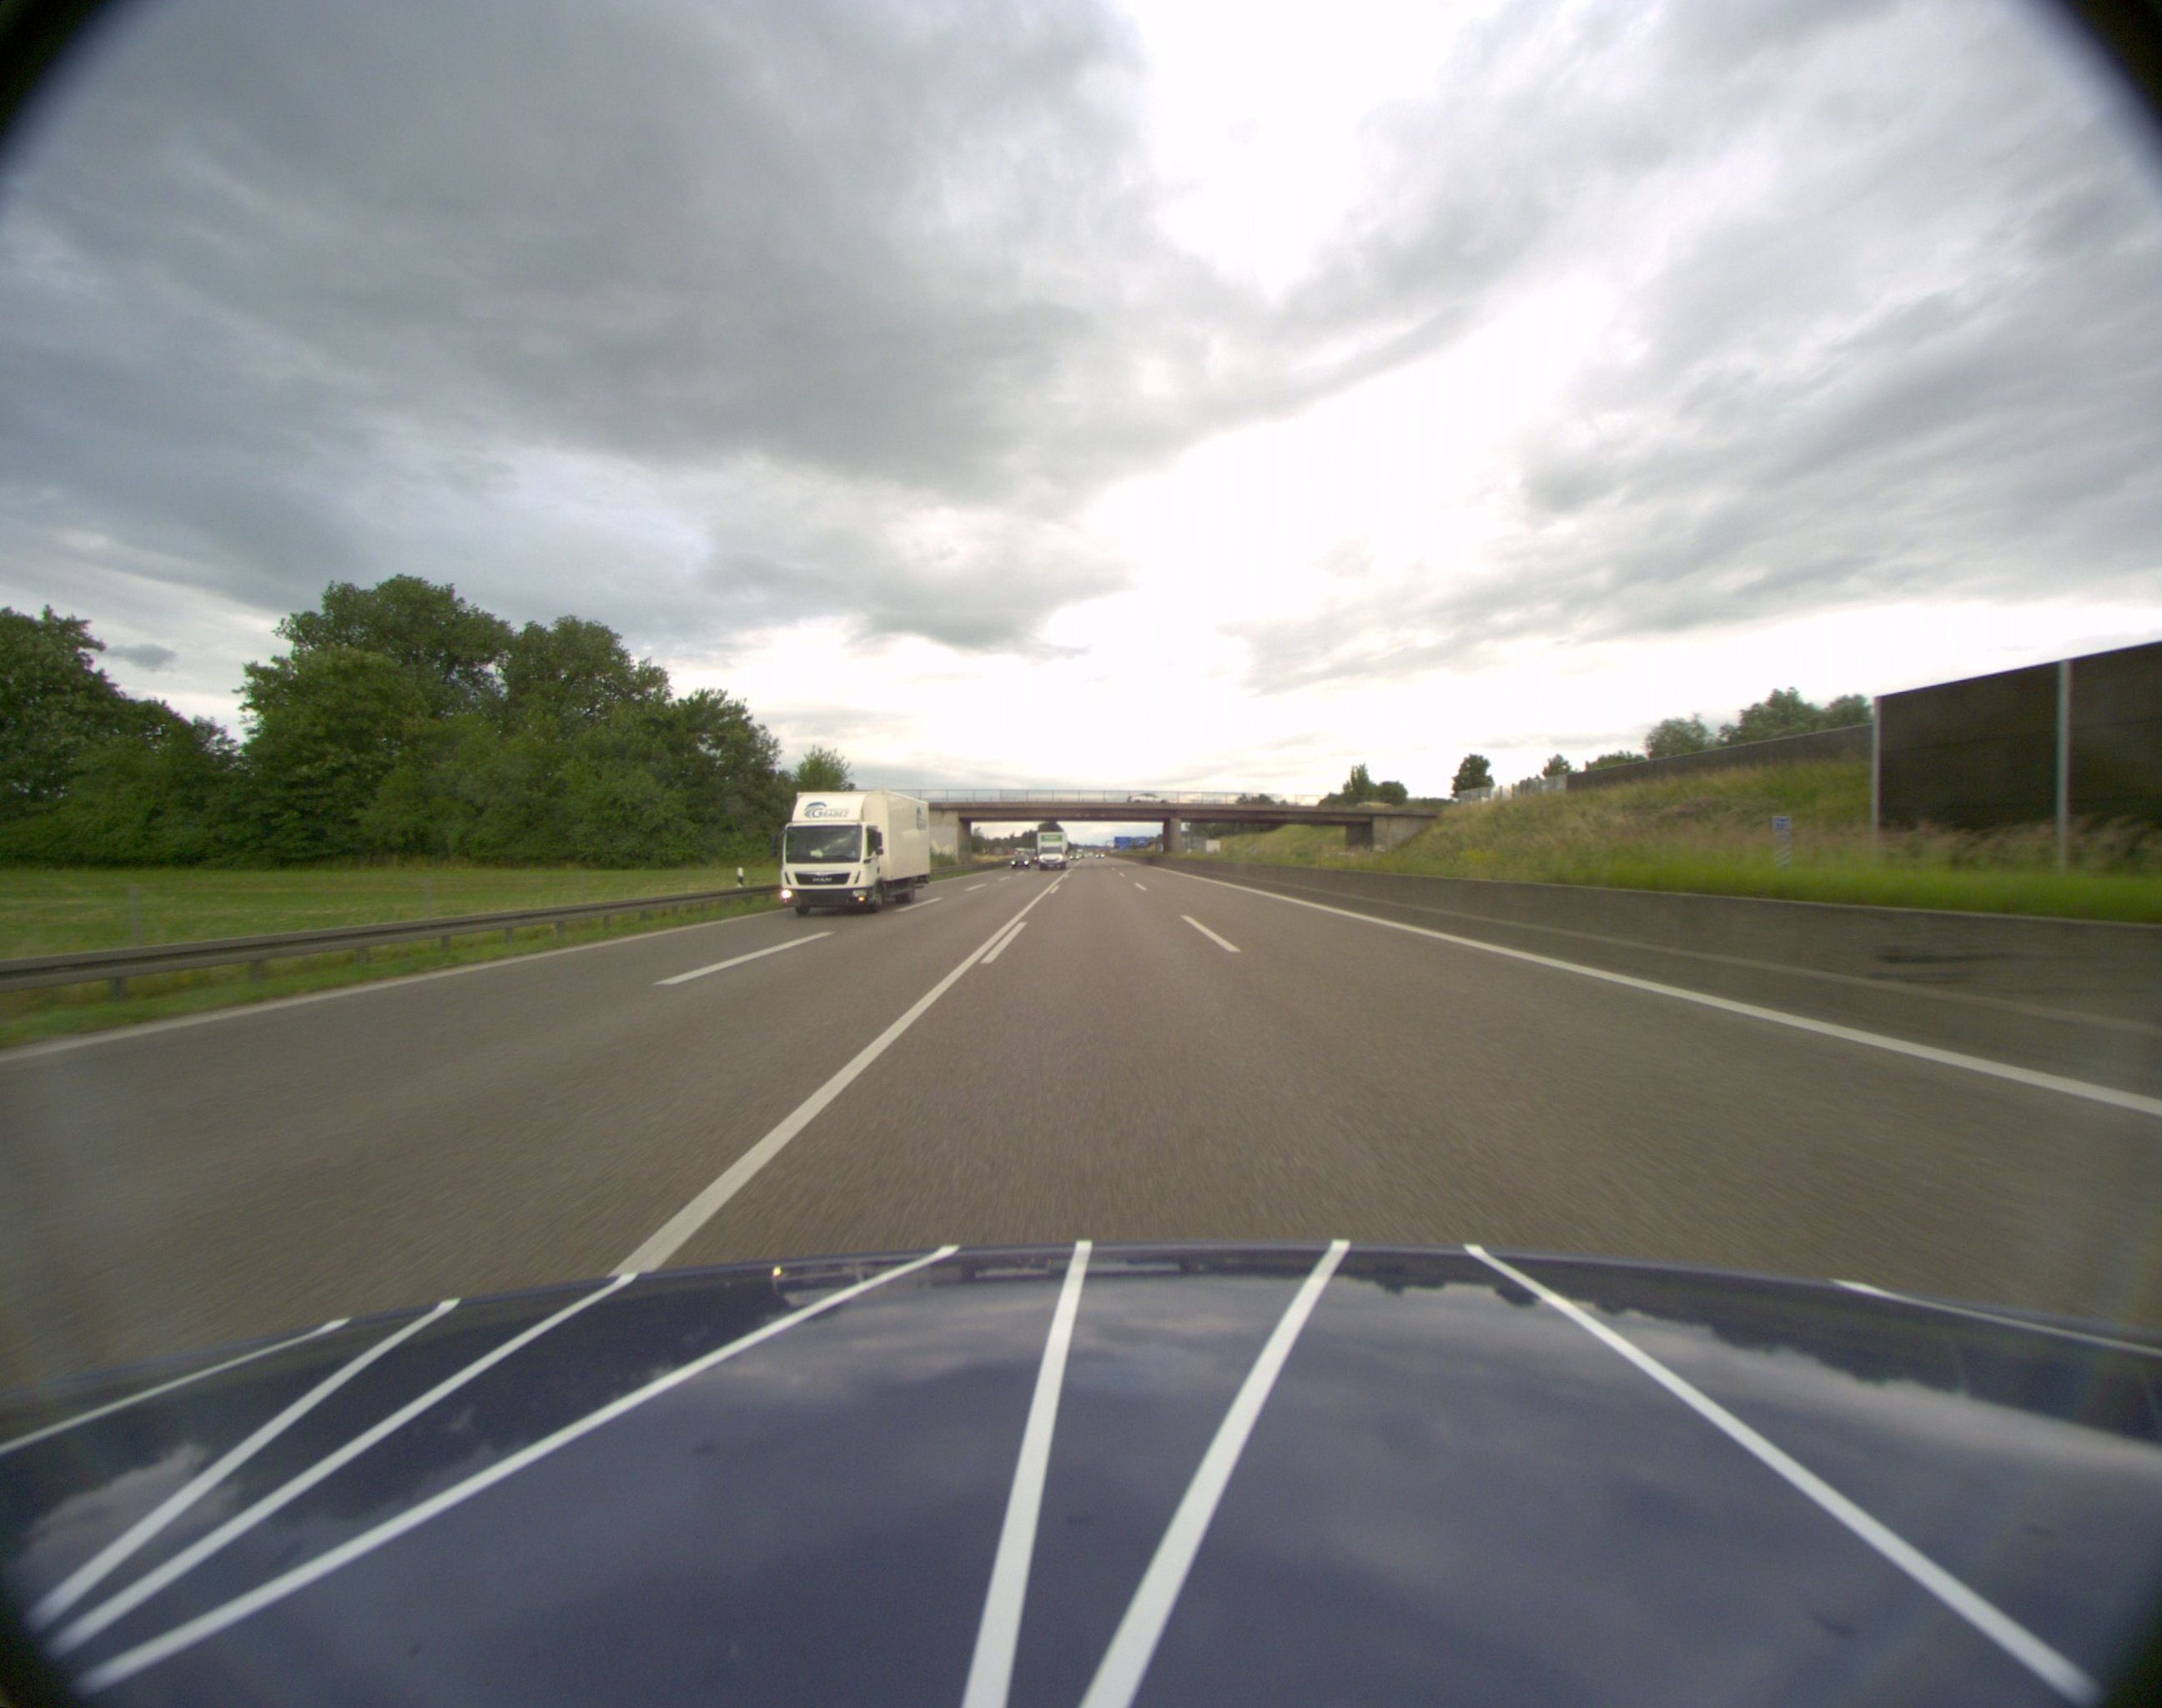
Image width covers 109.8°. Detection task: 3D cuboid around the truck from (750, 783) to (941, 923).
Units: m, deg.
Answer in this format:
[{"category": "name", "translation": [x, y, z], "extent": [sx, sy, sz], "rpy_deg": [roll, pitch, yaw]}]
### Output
[{"category": "truck", "translation": [-6.832, -0.053, 23.842], "extent": [3.112, 3.450, 8.889], "rpy_deg": [-2, 0, 0]}]

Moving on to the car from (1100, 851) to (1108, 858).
[{"category": "car", "translation": [6.157, 0.101, 202.899], "extent": [1.998, 2.002, 4.000], "rpy_deg": [0, 0, 1]}]

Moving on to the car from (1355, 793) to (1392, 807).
[{"category": "car", "translation": [31.679, -5.844, 82.242], "extent": [3.341, 1.439, 1.659], "rpy_deg": [-1, 1, -10]}]

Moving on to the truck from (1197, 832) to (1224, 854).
[{"category": "truck", "translation": [23.427, -1.967, 138.020], "extent": [3.005, 3.662, 13.007], "rpy_deg": [-1, 1, 1]}]

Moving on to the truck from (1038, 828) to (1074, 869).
[{"category": "truck", "translation": [-2.199, -0.482, 69.716], "extent": [2.777, 3.484, 9.062], "rpy_deg": [-2, 0, 1]}]

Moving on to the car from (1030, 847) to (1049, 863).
[{"category": "car", "translation": [-5.509, 0.125, 101.894], "extent": [2.149, 2.051, 4.958], "rpy_deg": [-1, 0, 1]}]

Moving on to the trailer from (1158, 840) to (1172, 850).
[{"category": "trailer", "translation": [24.445, -2.595, 221.903], "extent": [2.928, 2.938, 13.970], "rpy_deg": [-2, 0, 1]}]

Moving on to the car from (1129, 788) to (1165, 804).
[{"category": "car", "translation": [6.755, -5.923, 77.596], "extent": [3.341, 1.439, 1.659], "rpy_deg": [-1, 1, -12]}]

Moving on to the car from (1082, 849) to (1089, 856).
[{"category": "car", "translation": [1.326, -0.464, 211.284], "extent": [1.998, 2.002, 4.000], "rpy_deg": [0, 0, 1]}]

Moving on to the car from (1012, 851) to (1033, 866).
[{"category": "car", "translation": [-6.274, 0.497, 82.242], "extent": [1.922, 1.541, 4.923], "rpy_deg": [0, 0, 0]}]

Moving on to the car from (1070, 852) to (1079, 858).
[{"category": "car", "translation": [-1.390, 0.200, 159.159], "extent": [1.781, 1.180, 4.000], "rpy_deg": [0, 0, 1]}]
